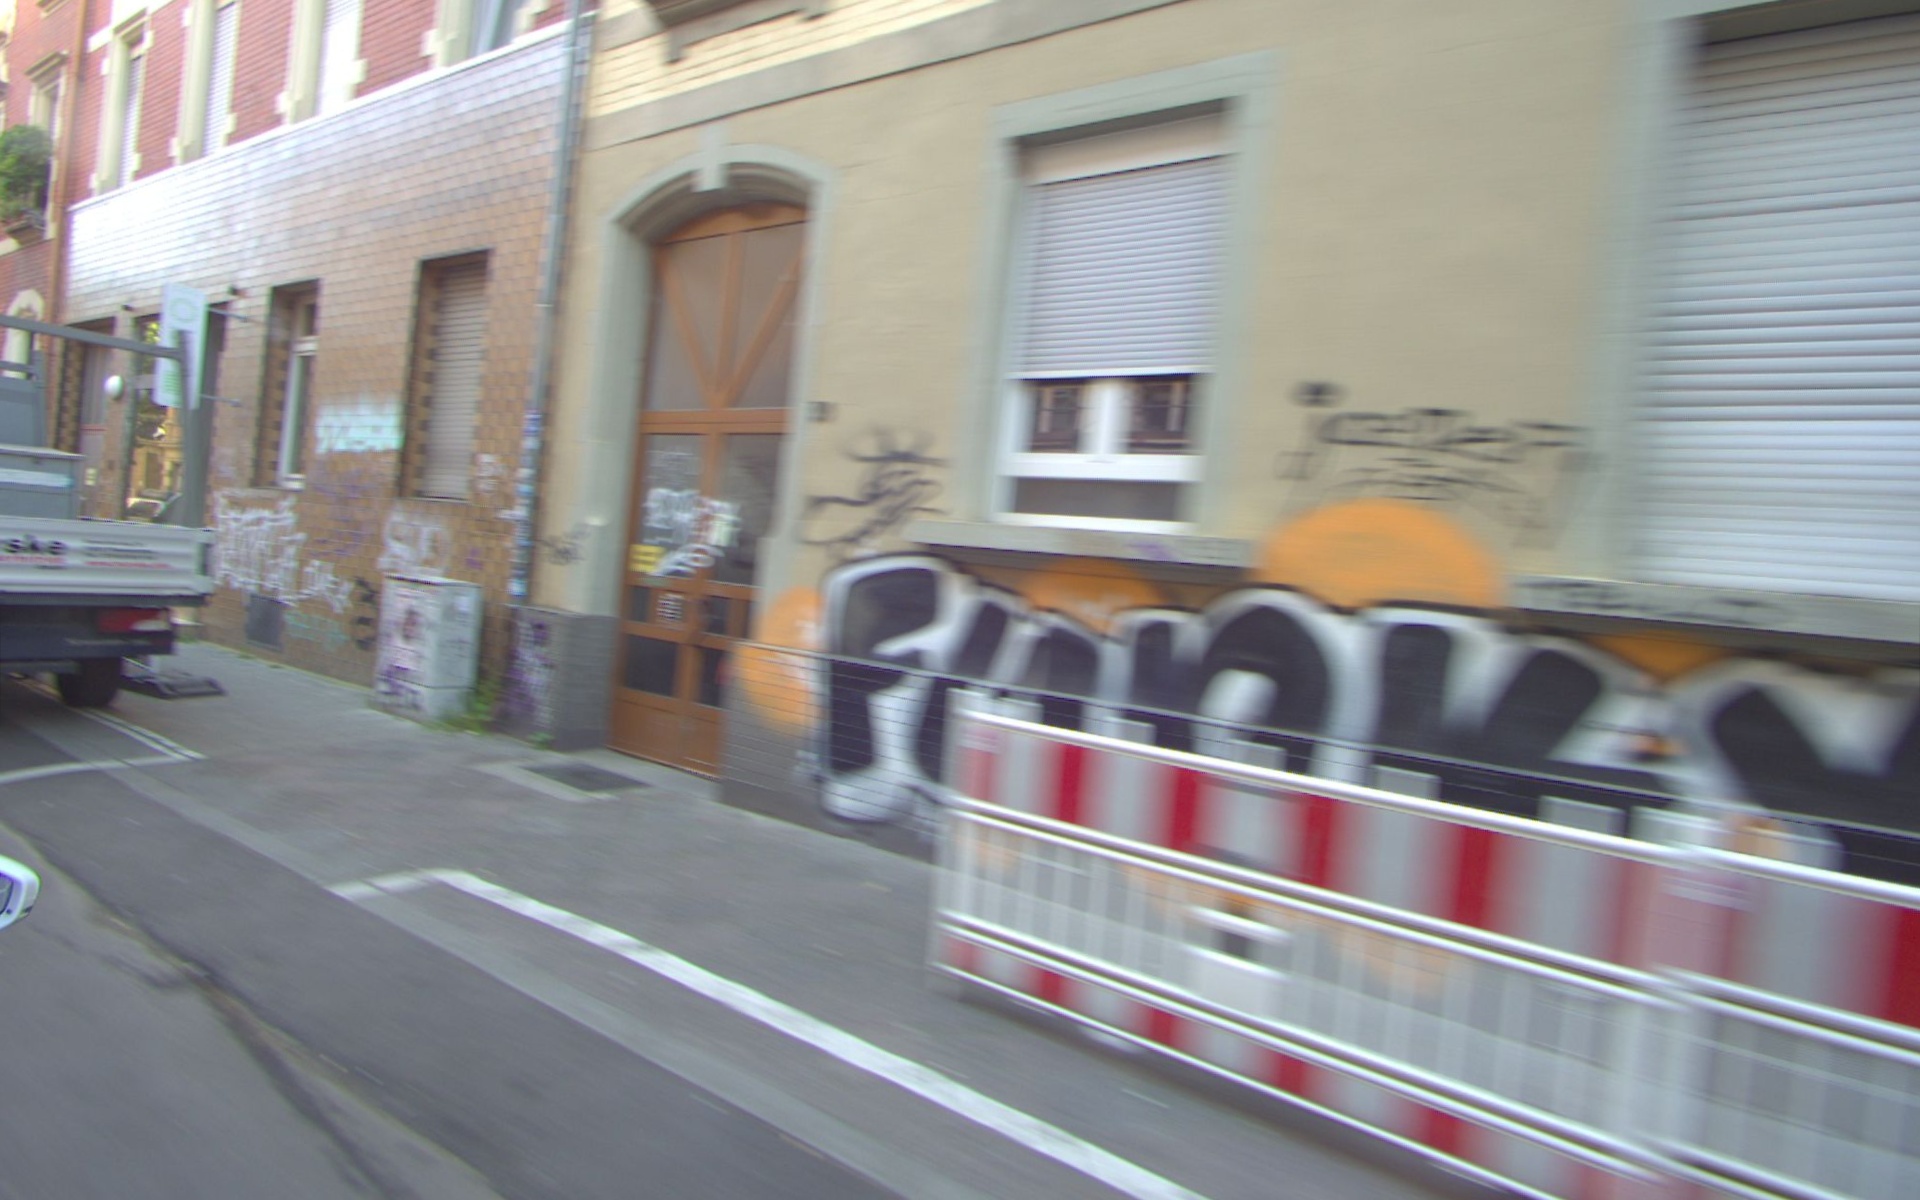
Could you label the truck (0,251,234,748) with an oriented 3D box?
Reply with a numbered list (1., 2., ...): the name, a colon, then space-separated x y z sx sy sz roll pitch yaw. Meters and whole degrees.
1. truck: -7.820 -0.815 7.092 6.149 2.695 2.147 6 4 31
